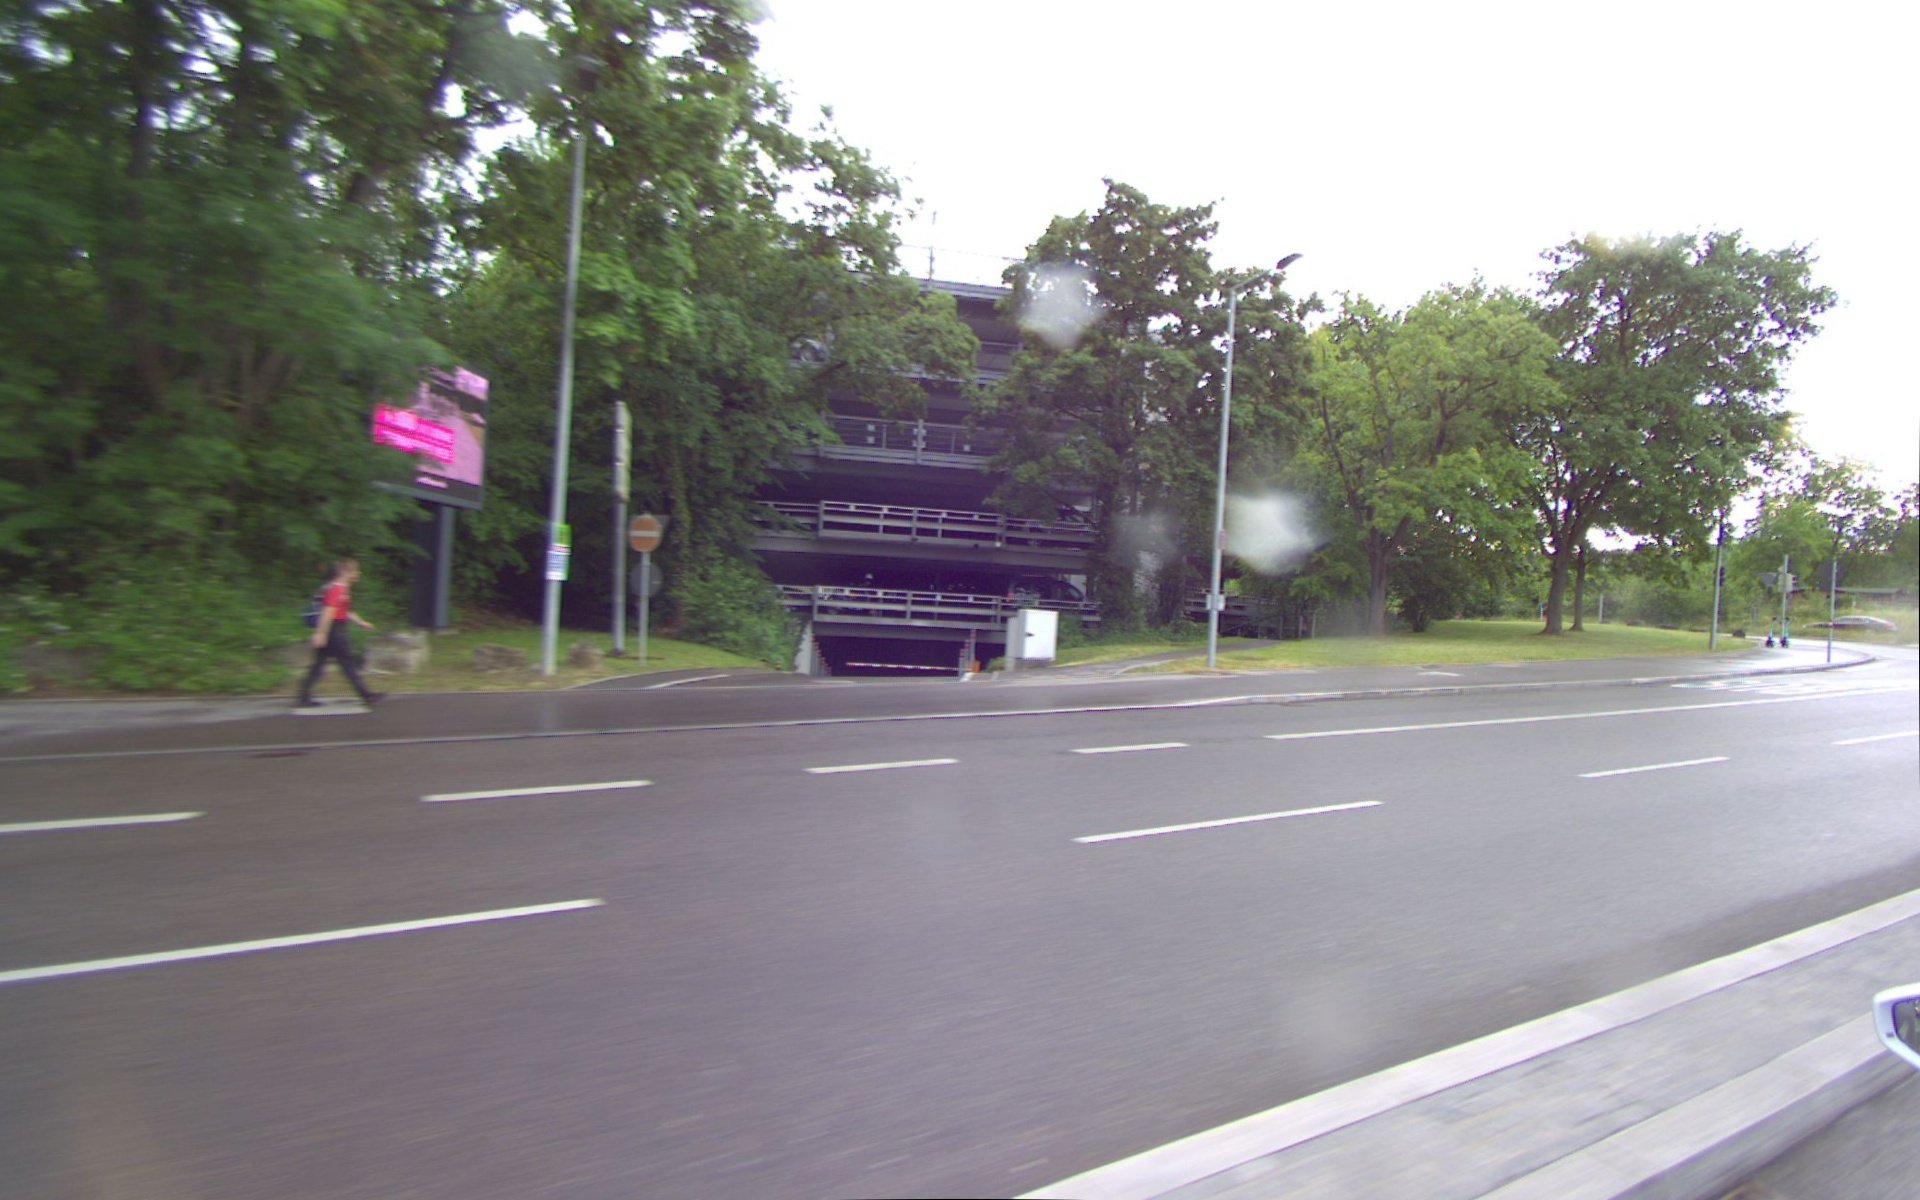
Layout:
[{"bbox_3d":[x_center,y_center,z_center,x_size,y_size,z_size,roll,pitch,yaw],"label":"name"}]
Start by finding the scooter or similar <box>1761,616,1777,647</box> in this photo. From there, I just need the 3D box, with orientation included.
[{"bbox_3d":[32.933,1.267,40.892,1.298,1.234,0.308,0,2,-44],"label":"scooter or similar"}]

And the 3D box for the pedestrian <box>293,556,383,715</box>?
[{"bbox_3d":[-7.403,0.416,11.988,0.787,1.840,0.519,1,1,-19],"label":"pedestrian"}]

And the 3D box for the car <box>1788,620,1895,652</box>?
[{"bbox_3d":[55.239,2.243,63.015,2.151,1.604,4.619,3,2,-34],"label":"car"}]

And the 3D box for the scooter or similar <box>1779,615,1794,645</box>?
[{"bbox_3d":[34.371,1.234,41.756,1.298,1.234,0.308,0,2,-43],"label":"scooter or similar"}]
